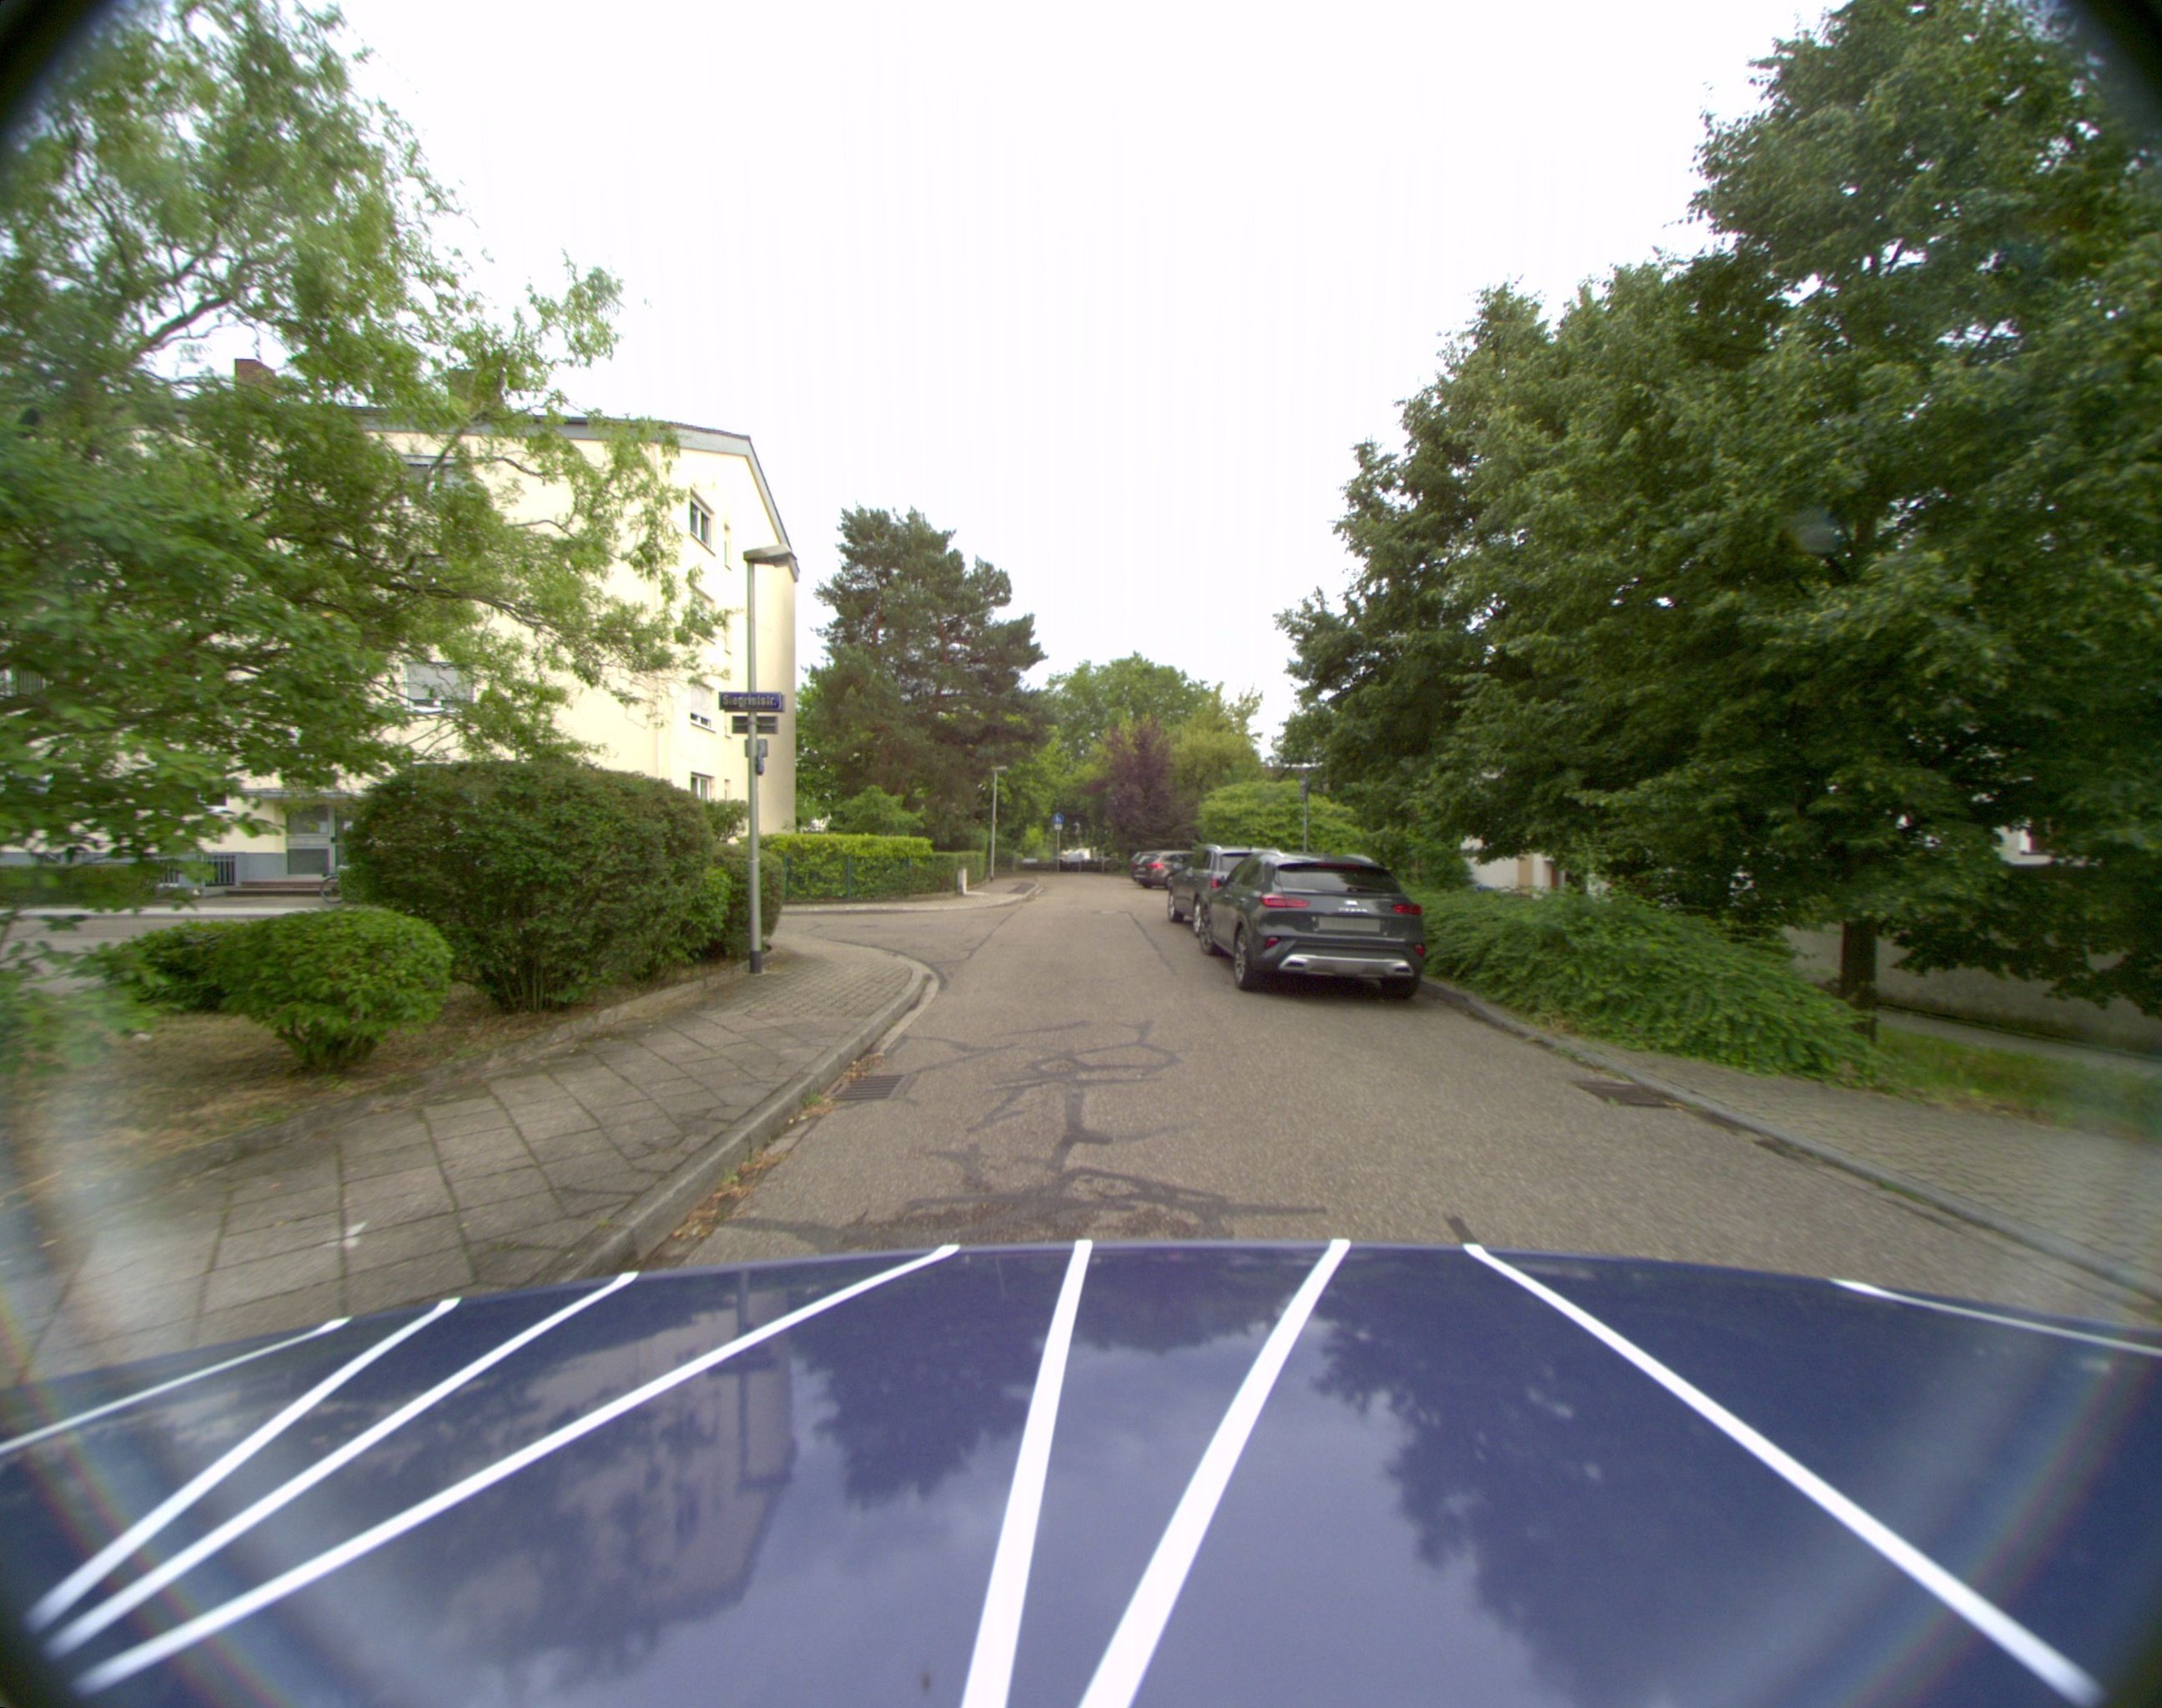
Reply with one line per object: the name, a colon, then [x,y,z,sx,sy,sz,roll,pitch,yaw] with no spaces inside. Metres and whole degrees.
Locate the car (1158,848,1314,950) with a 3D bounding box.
car: [2.665,0.699,14.093,1.747,1.522,4.249,2,1,-3]

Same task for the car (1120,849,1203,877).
car: [4.198,0.458,39.429,4.006,1.367,1.697,0,1,-28]

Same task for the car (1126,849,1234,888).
car: [3.965,0.535,30.260,4.006,1.482,1.697,0,1,-28]

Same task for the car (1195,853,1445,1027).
car: [2.544,0.806,9.199,1.746,1.522,4.195,2,1,2]

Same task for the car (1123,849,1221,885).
car: [3.995,0.517,33.267,4.006,1.482,1.697,0,1,-28]

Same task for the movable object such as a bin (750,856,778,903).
movable object such as a bin: [-7.925,0.632,19.030,0.515,1.180,0.506,0,0,-4]
